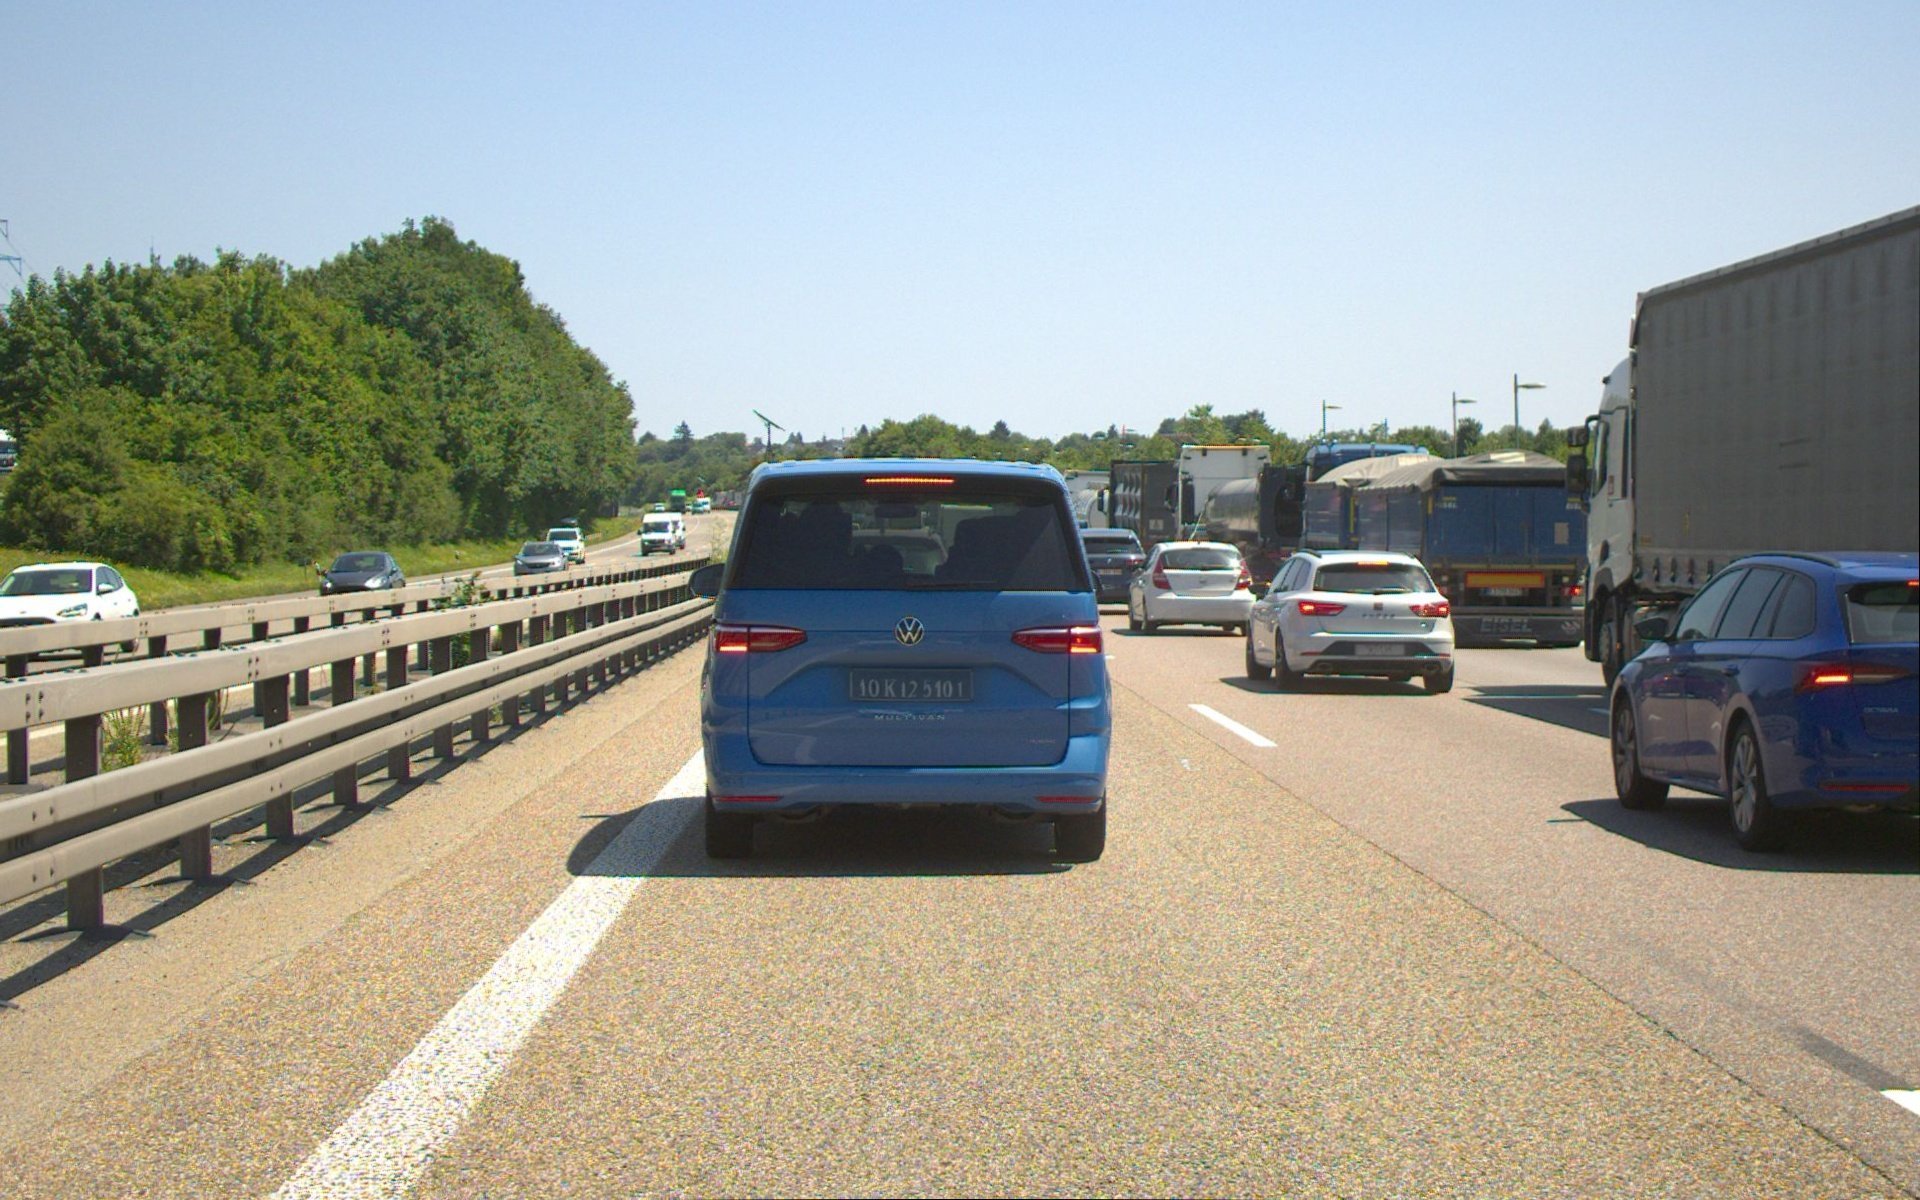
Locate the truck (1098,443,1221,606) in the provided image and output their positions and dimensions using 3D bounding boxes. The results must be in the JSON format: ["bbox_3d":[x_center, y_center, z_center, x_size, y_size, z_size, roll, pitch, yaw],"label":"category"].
[{"bbox_3d":[6.490,-2.427,112.734,3.658,5.162,5.708,1,0,0],"label":"truck"}]

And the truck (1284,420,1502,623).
[{"bbox_3d":[7.495,-1.392,60.358,2.743,3.300,7.133,1,2,-1],"label":"truck"}]

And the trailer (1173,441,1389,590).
[{"bbox_3d":[7.249,-1.806,80.279,3.646,3.068,15.772,1,0,1],"label":"trailer"}]

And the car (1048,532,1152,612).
[{"bbox_3d":[2.757,-0.548,68.515,1.781,1.519,4.000,1,0,-1],"label":"car"}]

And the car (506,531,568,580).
[{"bbox_3d":[-14.606,-1.529,118.923,1.773,1.625,3.951,1,0,-2],"label":"car"}]

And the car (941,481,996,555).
[{"bbox_3d":[0.586,-5.965,252.622,3.218,5.239,8.145,1,0,-5],"label":"car"}]

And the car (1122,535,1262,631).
[{"bbox_3d":[3.687,-0.266,55.283,1.840,1.449,4.000,1,0,-2],"label":"car"}]

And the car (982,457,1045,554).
[{"bbox_3d":[2.984,-5.322,194.915,3.218,5.239,8.144,1,0,-1],"label":"car"}]

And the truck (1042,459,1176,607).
[{"bbox_3d":[5.514,-2.420,130.615,3.621,5.195,15.690,1,0,-3],"label":"truck"}]

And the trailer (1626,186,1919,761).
[{"bbox_3d":[8.171,-0.925,26.960,2.962,4.035,13.753,0,1,-1],"label":"trailer"}]

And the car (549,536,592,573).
[{"bbox_3d":[-20.869,-2.437,184.357,1.864,1.898,5.493,-2,0,-3],"label":"car"}]

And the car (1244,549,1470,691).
[{"bbox_3d":[4.042,0.162,35.602,1.867,1.356,4.000,1,1,0],"label":"car"}]

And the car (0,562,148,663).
[{"bbox_3d":[-13.813,0.181,52.751,1.850,1.462,4.305,-1,0,-2],"label":"car"}]

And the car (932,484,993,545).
[{"bbox_3d":[0.087,-3.968,161.187,2.550,2.708,5.622,1,0,-2],"label":"car"}]

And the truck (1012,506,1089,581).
[{"bbox_3d":[2.290,-1.418,87.740,1.725,1.851,4.000,1,0,-1],"label":"truck"}]

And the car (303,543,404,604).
[{"bbox_3d":[-15.080,-0.650,85.655,1.876,1.441,4.145,-2,0,-2],"label":"car"}]

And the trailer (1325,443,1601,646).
[{"bbox_3d":[7.608,-0.920,53.269,2.743,2.827,9.116,1,2,-1],"label":"trailer"}]

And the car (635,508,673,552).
[{"bbox_3d":[-19.197,-4.389,215.610,2.052,2.642,5.839,1,0,-2],"label":"car"}]

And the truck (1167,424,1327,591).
[{"bbox_3d":[7.338,-2.300,89.035,3.626,4.080,7.524,1,0,2],"label":"truck"}]

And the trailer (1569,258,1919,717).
[{"bbox_3d":[8.033,-1.046,33.492,2.924,4.030,6.411,0,1,-1],"label":"trailer"}]

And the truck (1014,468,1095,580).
[{"bbox_3d":[4.296,-3.434,158.856,3.068,4.903,10.691,1,0,-1],"label":"truck"}]

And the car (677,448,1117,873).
[{"bbox_3d":[-0.272,0.259,17.112,1.901,1.831,4.000,1,0,0],"label":"car"}]

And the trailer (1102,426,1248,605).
[{"bbox_3d":[6.503,-2.475,106.281,3.646,5.119,13.075,1,0,0],"label":"trailer"}]

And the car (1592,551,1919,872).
[{"bbox_3d":[4.562,0.507,17.754,1.706,1.436,4.428,1,0,-1],"label":"car"}]
